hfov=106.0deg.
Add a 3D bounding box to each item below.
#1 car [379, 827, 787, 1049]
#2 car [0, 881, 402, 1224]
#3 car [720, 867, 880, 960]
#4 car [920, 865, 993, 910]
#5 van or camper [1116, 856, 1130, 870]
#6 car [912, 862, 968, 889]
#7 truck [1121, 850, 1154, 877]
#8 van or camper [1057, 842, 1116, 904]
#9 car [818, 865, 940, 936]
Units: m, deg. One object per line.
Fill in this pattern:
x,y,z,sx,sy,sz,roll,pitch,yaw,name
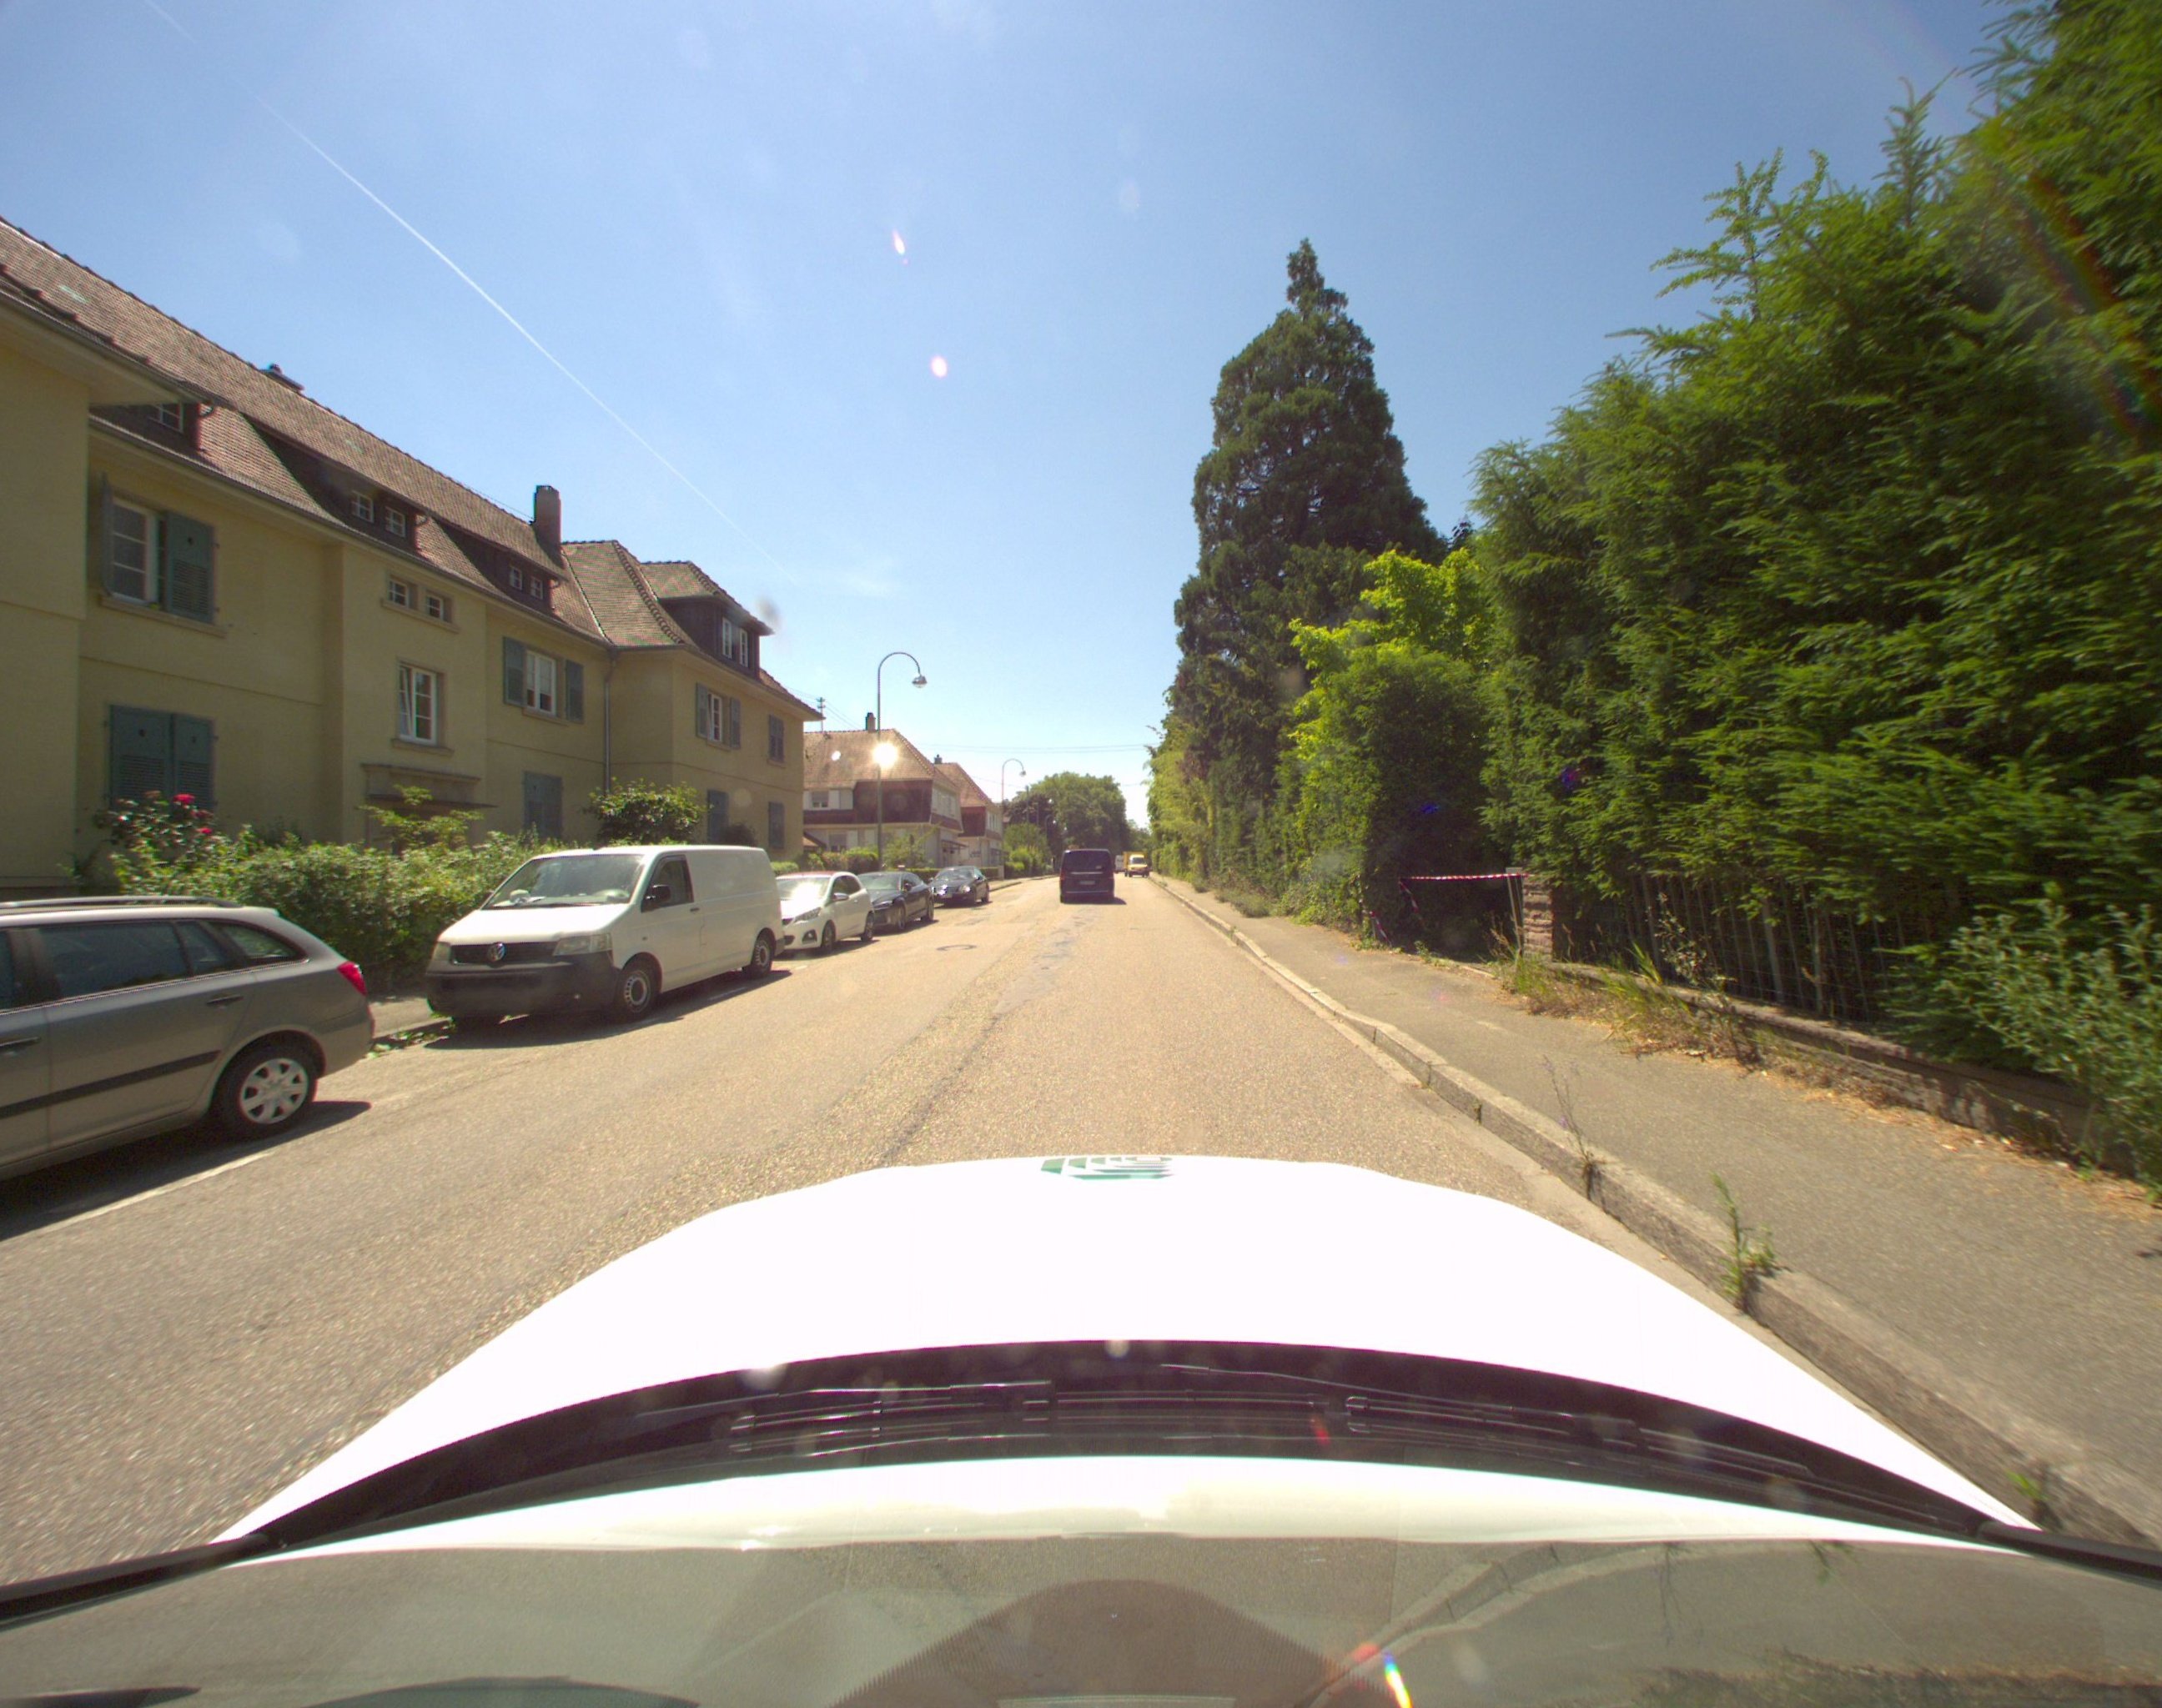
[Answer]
-5.509,0.804,9.935,1.870,1.963,4.628,-4,-1,2,car
-5.864,1.000,3.878,1.680,1.525,4.064,-4,-1,2,car
-5.188,1.033,15.502,1.659,1.493,3.480,-1,0,3,car
-4.369,1.149,29.267,1.659,1.386,4.383,-3,-1,3,car
6.057,1.299,117.564,1.985,2.014,4.003,-1,-1,3,van or camper
-10.831,1.654,62.790,3.852,1.905,1.881,-2,-1,2,car
4.967,0.847,72.254,2.349,2.258,6.089,-1,-1,-1,truck
0.297,0.659,29.506,1.895,2.014,5.274,0,-1,3,van or camper
-4.831,1.059,20.104,1.659,1.493,4.469,-1,0,3,car
